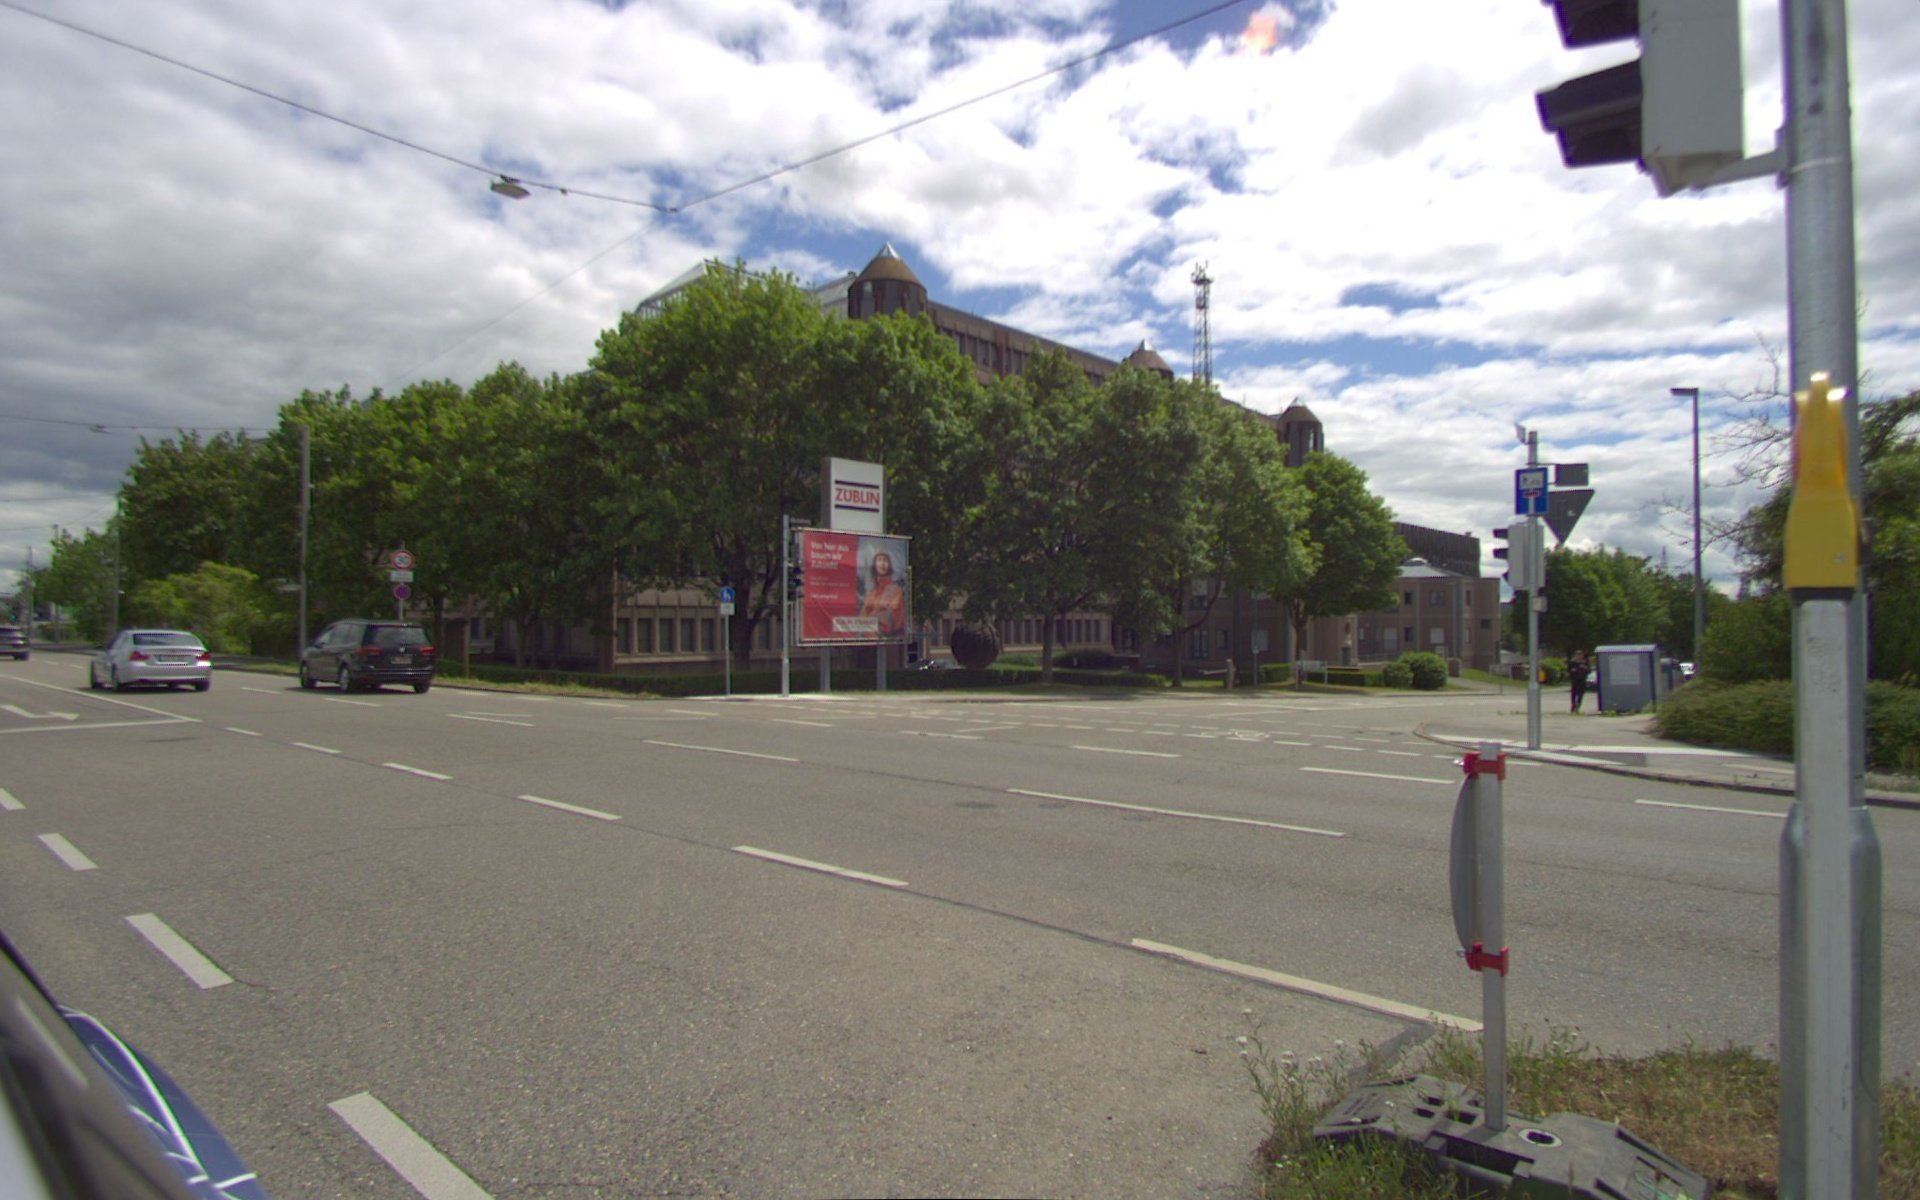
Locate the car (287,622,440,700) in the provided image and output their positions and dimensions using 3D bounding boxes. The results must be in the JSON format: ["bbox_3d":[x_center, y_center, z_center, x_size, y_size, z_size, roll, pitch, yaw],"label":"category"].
[{"bbox_3d":[-14.611,1.416,24.672,4.760,1.715,1.972,-2,-2,43],"label":"car"}]

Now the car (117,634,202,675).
[{"bbox_3d":[-30.534,2.044,38.569,3.997,1.426,1.762,-1,-3,40],"label":"car"}]

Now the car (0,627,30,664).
[{"bbox_3d":[-44.188,2.080,46.255,4.303,1.630,1.973,-2,-2,40],"label":"car"}]

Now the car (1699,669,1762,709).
[{"bbox_3d":[36.163,4.177,47.475,2.000,1.706,3.602,-2,-5,43],"label":"car"}]

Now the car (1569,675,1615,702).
[{"bbox_3d":[42.417,5.876,67.878,1.999,1.519,3.945,-1,-2,41],"label":"car"}]

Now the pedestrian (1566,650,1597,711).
[{"bbox_3d":[17.484,2.263,28.469,0.621,1.657,0.740,-2,-6,43],"label":"pedestrian"}]

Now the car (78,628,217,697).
[{"bbox_3d":[-19.033,1.389,23.636,4.419,1.458,1.773,-1,-2,41],"label":"car"}]

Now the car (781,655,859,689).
[{"bbox_3d":[-5.752,2.954,41.874,1.531,1.214,3.139,-1,-1,33],"label":"car"}]
